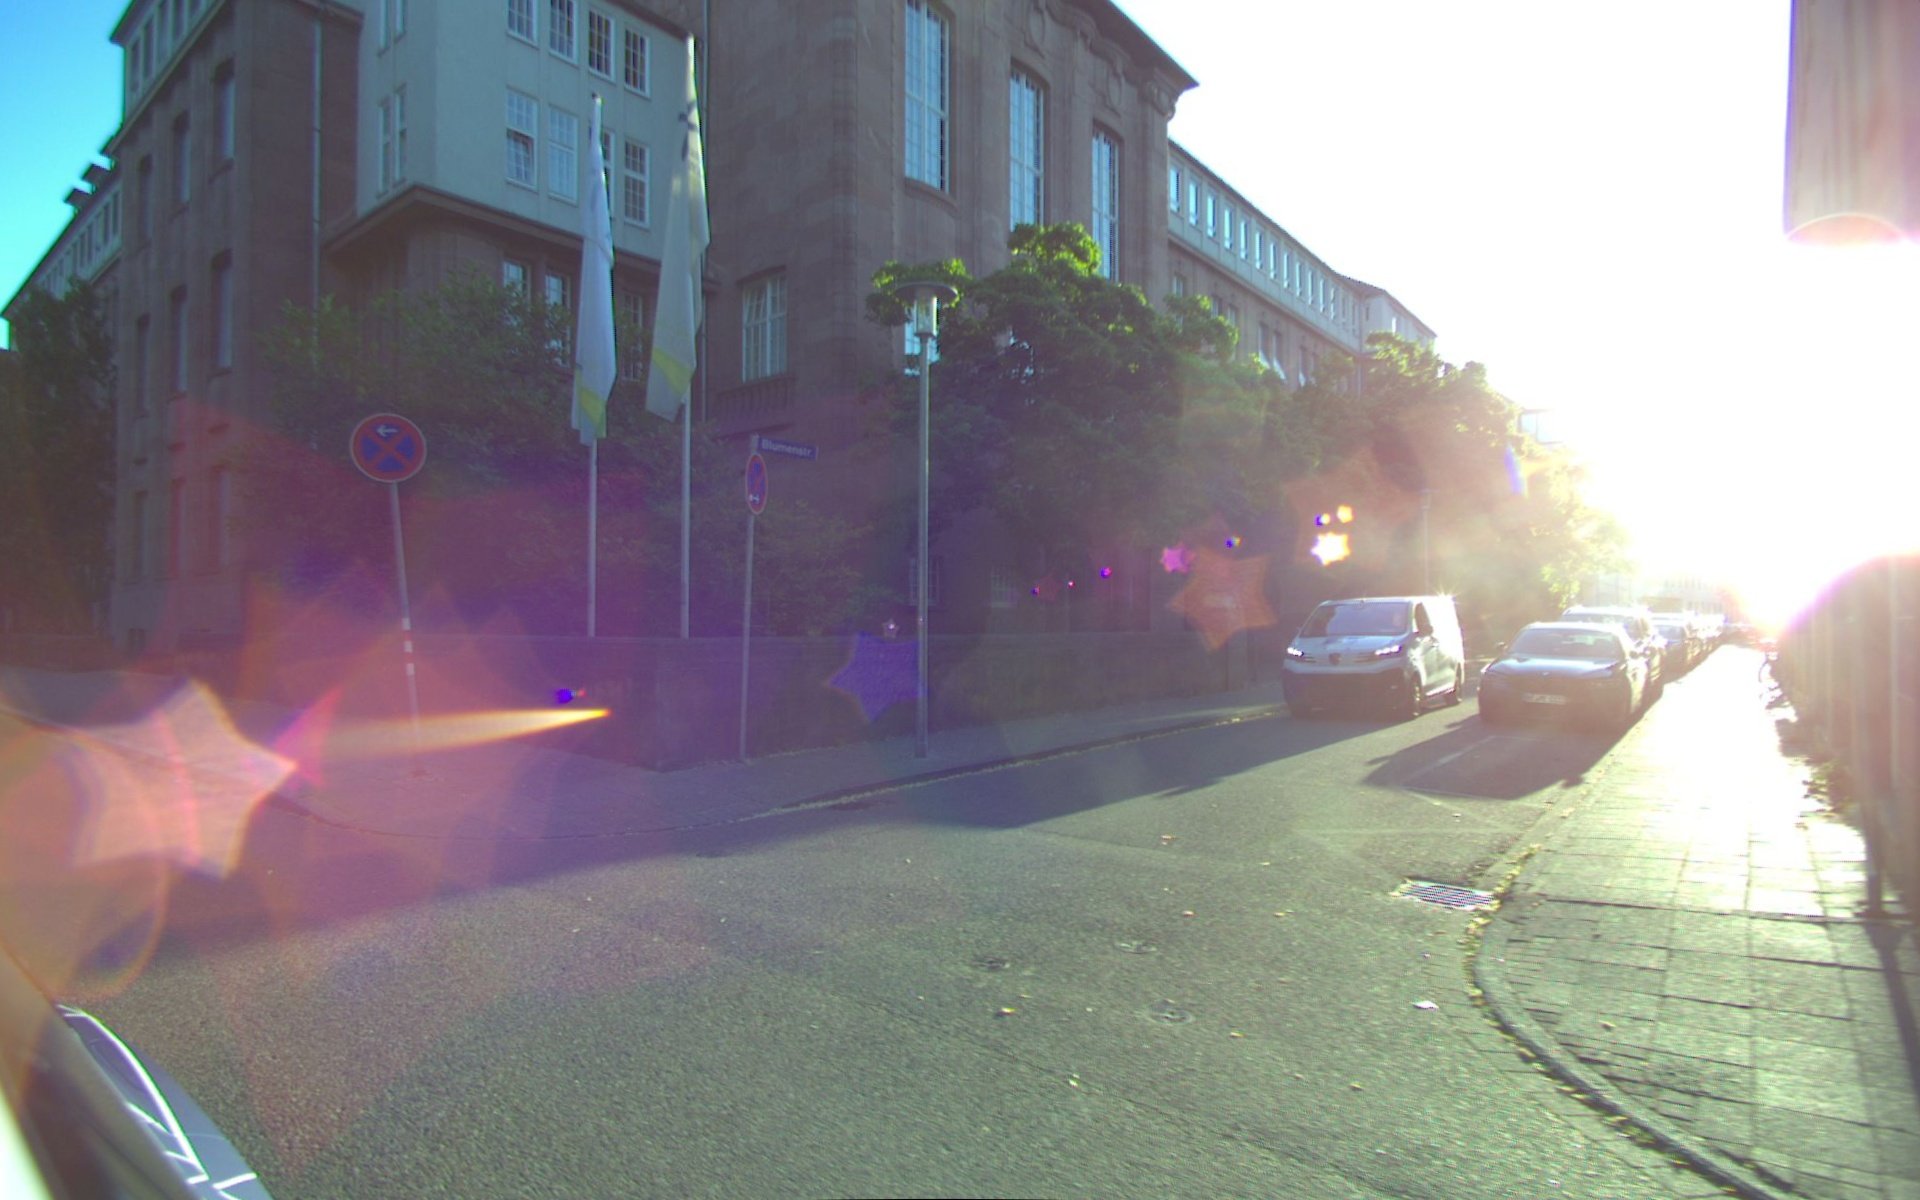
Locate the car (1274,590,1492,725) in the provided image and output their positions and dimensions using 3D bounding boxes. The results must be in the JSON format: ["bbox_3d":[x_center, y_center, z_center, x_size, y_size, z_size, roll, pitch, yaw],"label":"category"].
[{"bbox_3d":[7.144,0.885,16.752,1.997,1.889,5.042,-4,-3,38],"label":"car"}]

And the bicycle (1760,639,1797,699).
[{"bbox_3d":[16.124,1.334,19.950,0.497,1.072,1.852,-1,-1,37],"label":"bicycle"}]

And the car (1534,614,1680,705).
[{"bbox_3d":[13.038,1.074,20.242,1.997,1.520,5.043,1,0,38],"label":"car"}]

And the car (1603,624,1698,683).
[{"bbox_3d":[20.932,1.550,30.590,1.998,1.520,5.042,1,0,39],"label":"car"}]

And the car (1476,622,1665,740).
[{"bbox_3d":[9.576,1.098,15.644,1.997,1.422,5.044,1,0,37],"label":"car"}]
